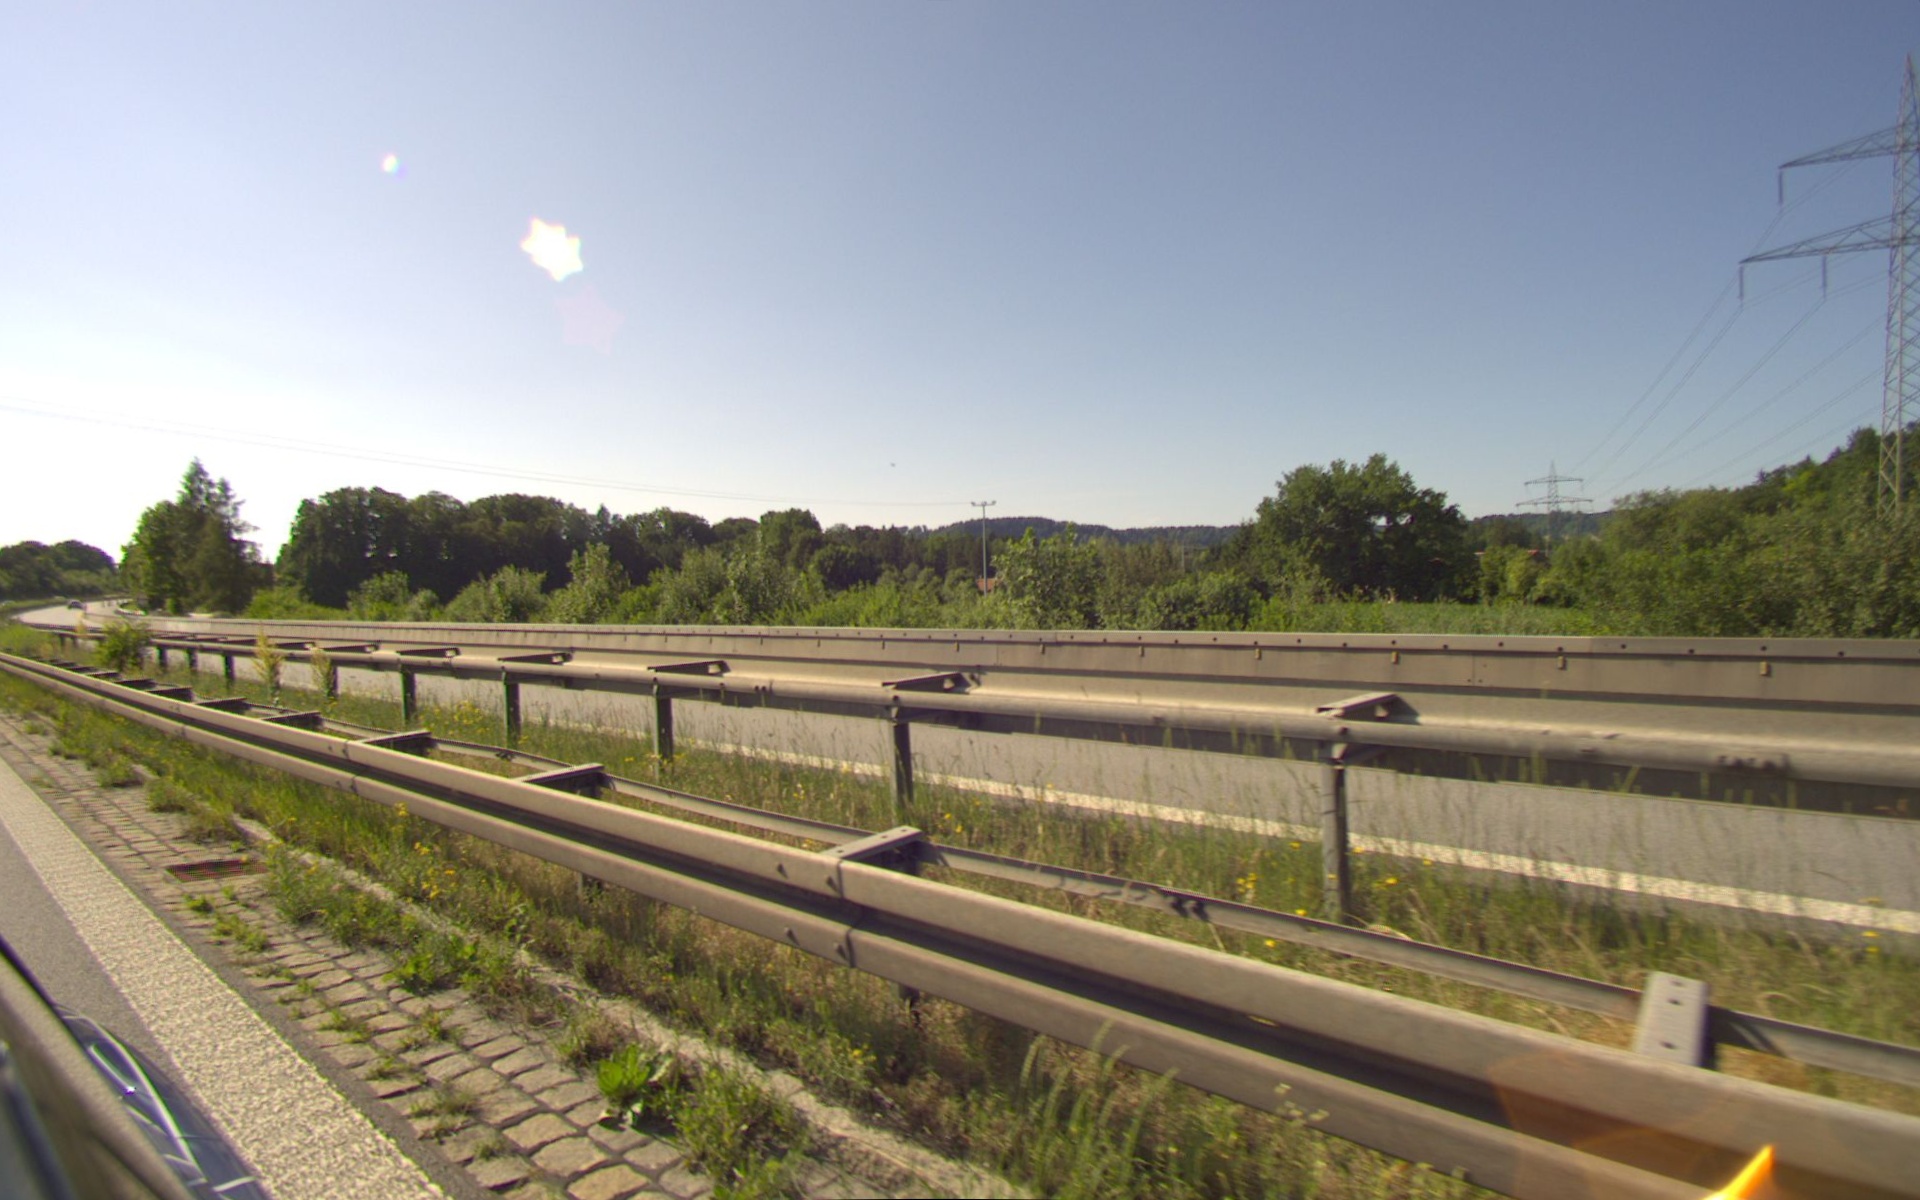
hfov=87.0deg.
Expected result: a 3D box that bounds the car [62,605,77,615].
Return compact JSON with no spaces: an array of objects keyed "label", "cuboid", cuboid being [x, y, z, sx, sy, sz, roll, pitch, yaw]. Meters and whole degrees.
[{"label":"car","cuboid":[-148.033,1.663,168.206,1.738,1.523,4.542,0,1,-40]}]
